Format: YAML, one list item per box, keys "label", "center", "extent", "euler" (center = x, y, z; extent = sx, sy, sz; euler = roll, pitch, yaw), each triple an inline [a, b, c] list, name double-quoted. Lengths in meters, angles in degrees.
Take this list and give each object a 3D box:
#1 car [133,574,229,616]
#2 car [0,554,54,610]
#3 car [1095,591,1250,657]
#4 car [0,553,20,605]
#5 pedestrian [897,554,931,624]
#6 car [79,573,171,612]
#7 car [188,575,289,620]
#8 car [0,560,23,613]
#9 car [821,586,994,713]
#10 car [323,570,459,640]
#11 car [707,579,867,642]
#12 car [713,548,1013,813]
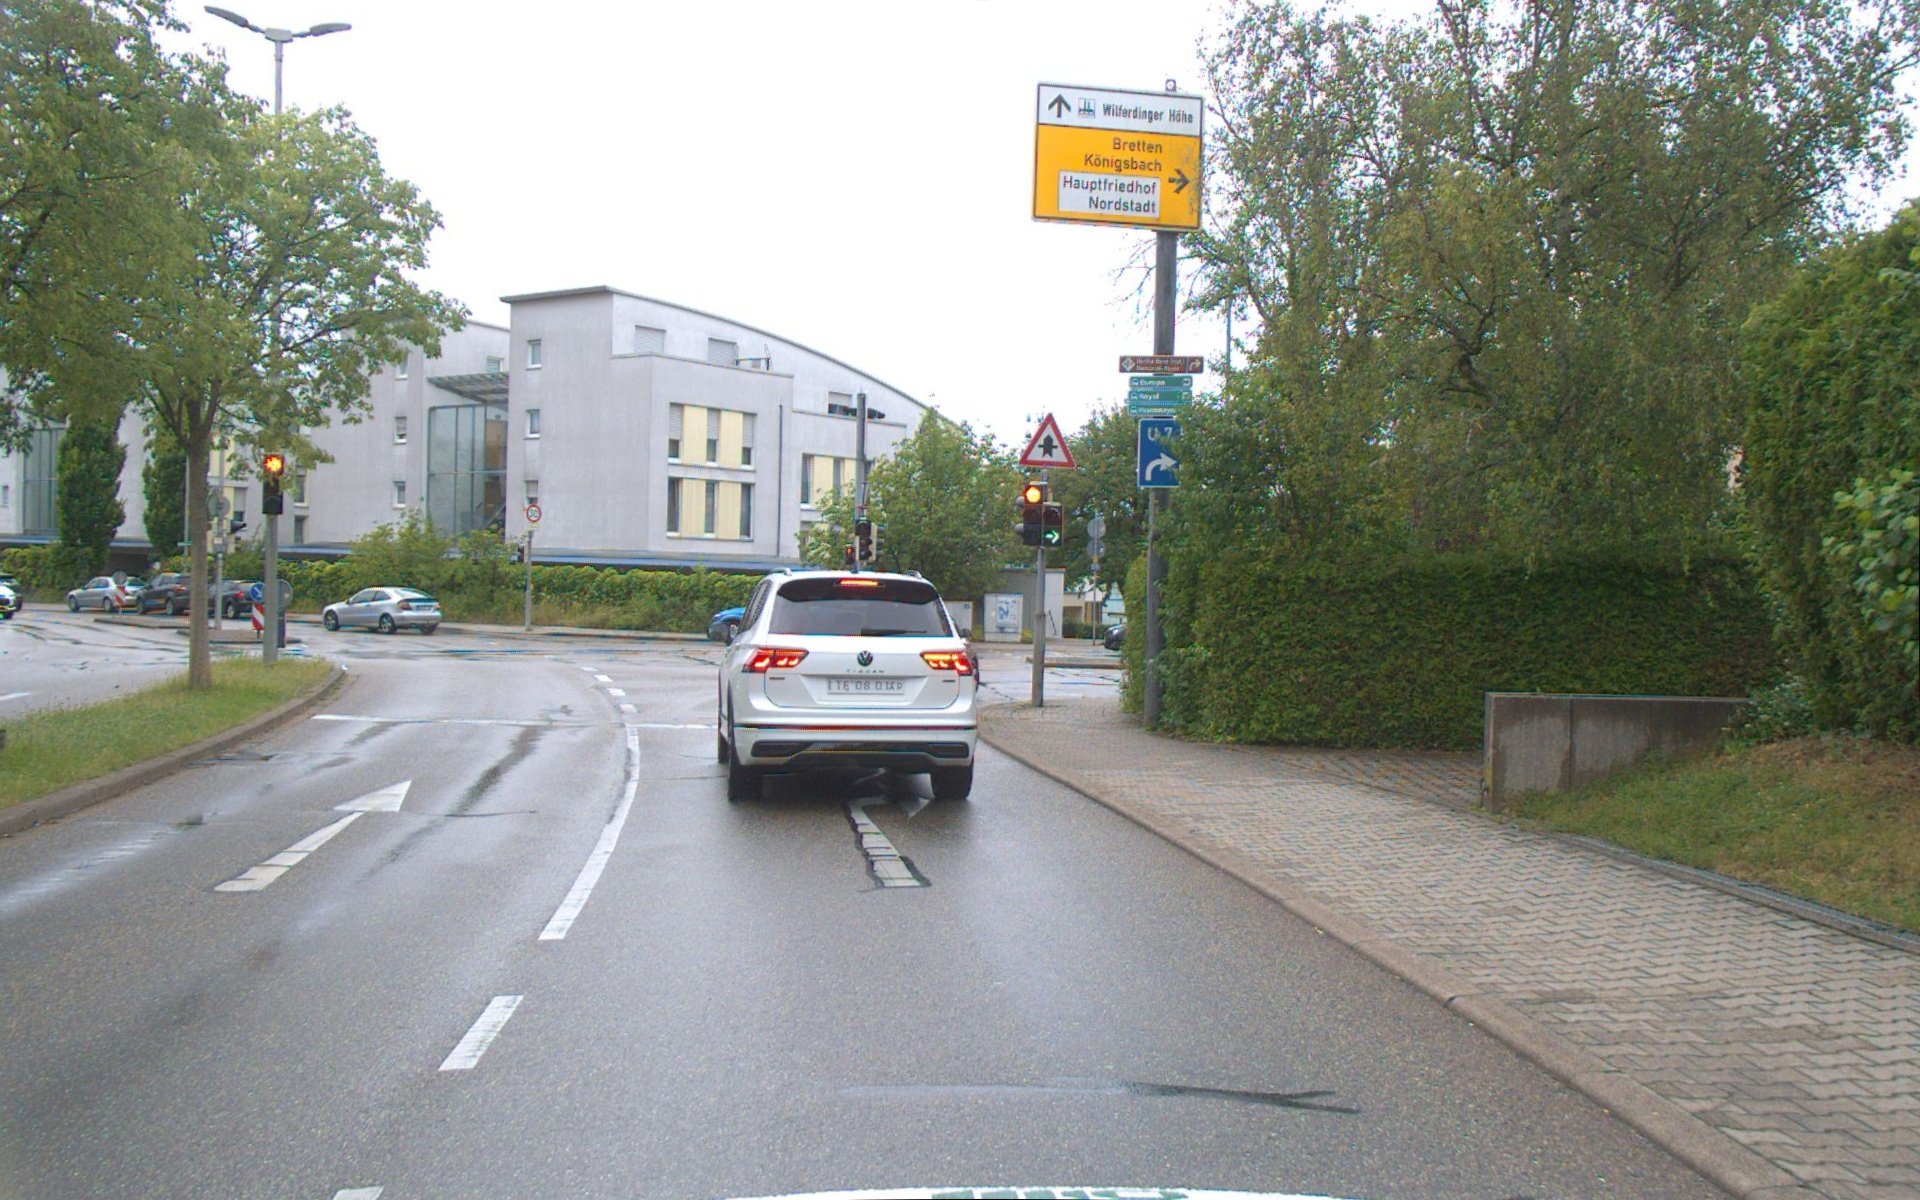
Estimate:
- label: "car"
  center: [-31.536, -0.230, 66.917]
  extent: [3.923, 1.582, 1.991]
  euler: [2, 2, 38]
- label: "car"
  center: [-39.926, -0.786, 69.234]
  extent: [3.923, 2.048, 1.973]
  euler: [6, 4, 36]
- label: "car"
  center: [5.792, 0.642, 45.443]
  extent: [3.908, 1.578, 2.000]
  euler: [2, 3, -3]
- label: "car"
  center: [-47.339, -0.957, 79.035]
  extent: [5.159, 2.456, 2.587]
  euler: [-1, -1, 40]
- label: "pedestrian"
  center: [-1.380, -0.329, 49.410]
  extent: [0.782, 2.048, 0.850]
  euler: [1, 2, 16]
- label: "car"
  center: [-35.247, -0.327, 69.810]
  extent: [3.923, 1.583, 1.991]
  euler: [1, 0, 38]
- label: "car"
  center: [-27.954, -0.119, 64.082]
  extent: [3.923, 1.582, 1.991]
  euler: [2, 2, 38]
- label: "car"
  center: [-33.454, -0.506, 56.413]
  extent: [1.981, 1.668, 3.944]
  euler: [1, 1, -39]
- label: "car"
  center: [-0.710, 0.680, 25.479]
  extent: [1.728, 1.535, 4.004]
  euler: [4, 3, 11]
- label: "car"
  center: [-17.748, 0.118, 51.548]
  extent: [3.919, 1.788, 1.994]
  euler: [6, 4, 34]
- label: "car"
  center: [-4.747, 0.266, 45.622]
  extent: [3.903, 1.582, 2.001]
  euler: [1, 2, 17]
- label: "car"
  center: [-0.952, 0.553, 13.282]
  extent: [1.886, 1.752, 4.254]
  euler: [2, 0, -10]
